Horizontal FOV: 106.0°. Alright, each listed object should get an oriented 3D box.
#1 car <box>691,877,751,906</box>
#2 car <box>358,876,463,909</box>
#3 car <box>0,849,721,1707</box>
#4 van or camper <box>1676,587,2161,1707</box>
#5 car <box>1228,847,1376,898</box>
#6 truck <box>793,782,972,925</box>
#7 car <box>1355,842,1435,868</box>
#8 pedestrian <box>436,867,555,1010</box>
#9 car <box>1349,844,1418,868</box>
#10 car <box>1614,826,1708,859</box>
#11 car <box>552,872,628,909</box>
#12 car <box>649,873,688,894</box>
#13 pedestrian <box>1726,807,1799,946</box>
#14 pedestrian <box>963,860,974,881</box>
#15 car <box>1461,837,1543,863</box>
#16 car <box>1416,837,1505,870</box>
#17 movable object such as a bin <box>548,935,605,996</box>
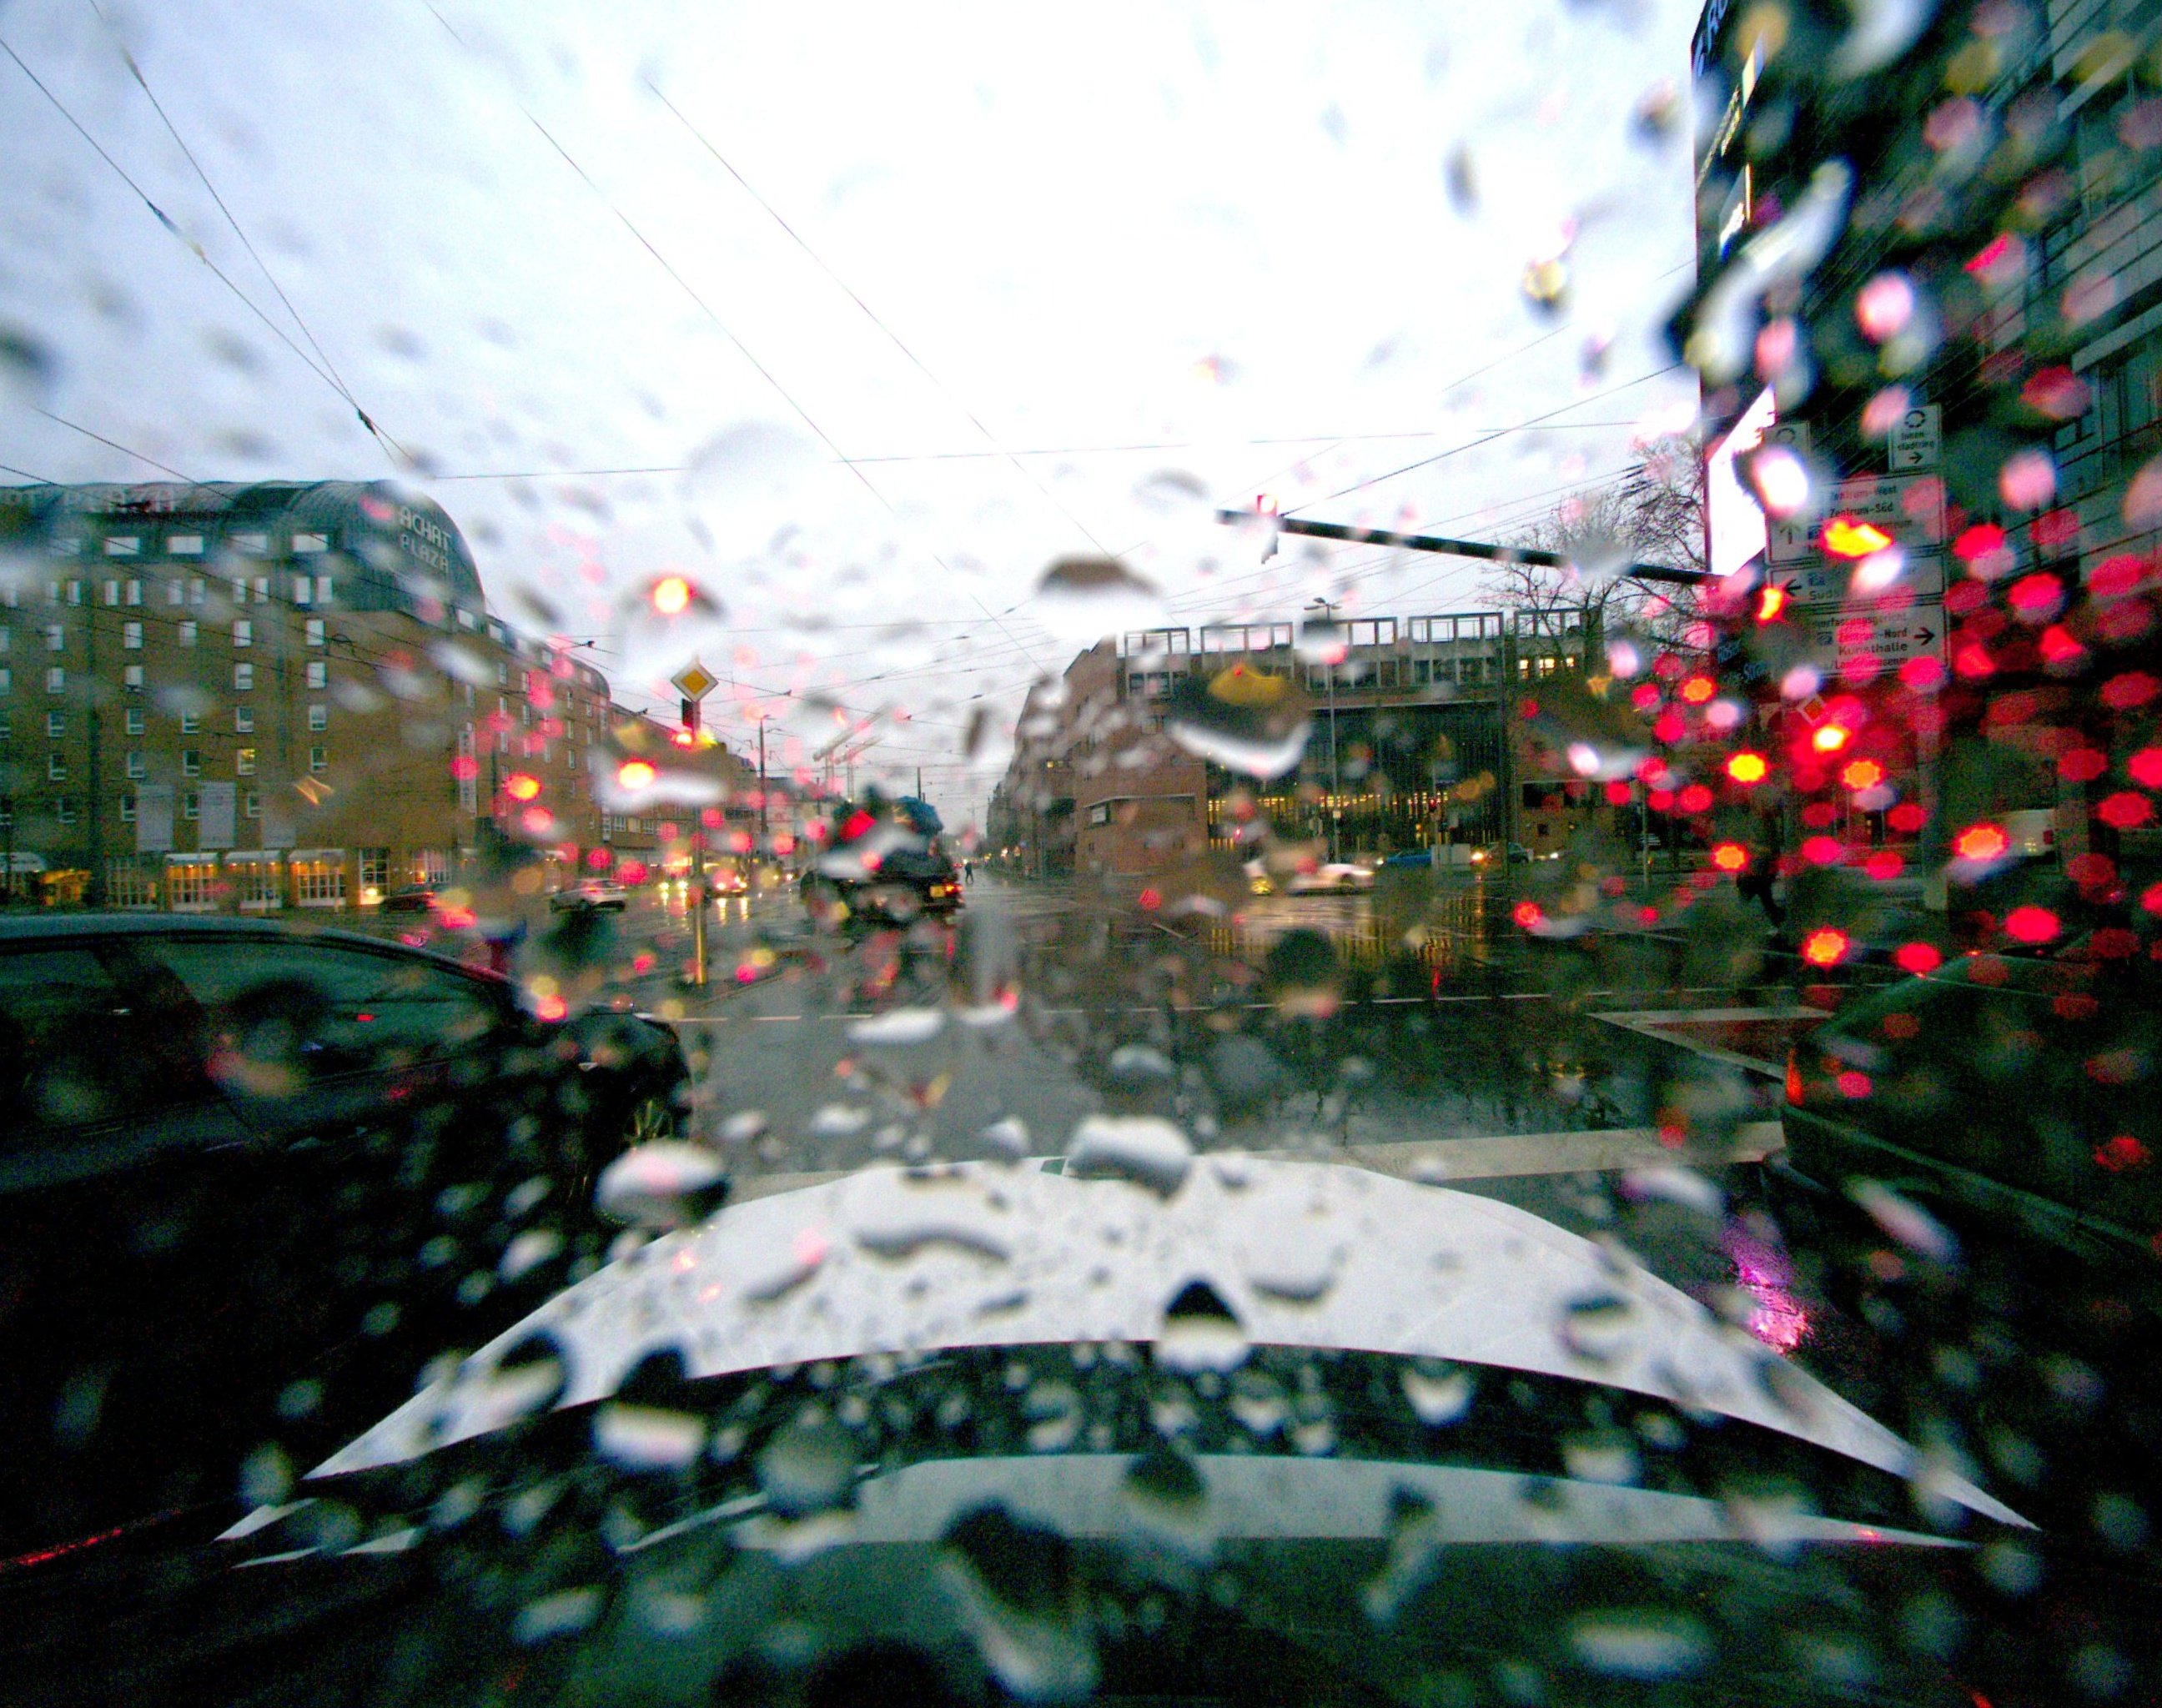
[{"bbox_3d":[-21.423,2.210,48.441,2.011,1.552,4.027,-2,0,-43],"label":"car"},{"bbox_3d":[-33.209,1.897,40.391,3.731,1.459,1.704,-2,0,1],"label":"car"},{"bbox_3d":[-2.702,0.770,2.122,1.623,1.523,3.944,1,1,2],"label":"car"},{"bbox_3d":[2.670,0.495,0.315,1.750,1.906,4.420,-1,0,2],"label":"van or camper"},{"bbox_3d":[7.672,0.643,28.481,4.783,1.561,2.058,-2,0,14],"label":"car"},{"bbox_3d":[-6.247,0.031,24.616,2.859,3.633,7.448,-2,0,-33],"label":"truck"},{"bbox_3d":[18.313,0.017,47.540,3.979,1.263,1.845,-2,4,-4],"label":"car"},{"bbox_3d":[-7.221,1.006,10.056,1.043,1.601,0.707,-3,-1,-44],"label":"pedestrian"},{"bbox_3d":[19.146,0.123,51.608,3.713,1.263,1.845,-2,4,-4],"label":"car"},{"bbox_3d":[32.248,-0.651,45.343,3.979,1.600,1.845,-2,4,-4],"label":"car"},{"bbox_3d":[-21.280,1.573,35.239,3.949,1.447,1.721,-2,0,43],"label":"car"},{"bbox_3d":[-36.159,2.563,71.489,1.995,1.670,3.983,-2,0,-12],"label":"car"},{"bbox_3d":[11.059,0.356,13.233,0.574,2.184,0.619,-1,-1,-4],"label":"pedestrian"},{"bbox_3d":[-9.168,1.358,66.586,0.843,1.687,0.647,-2,0,-9],"label":"pedestrian"},{"bbox_3d":[24.820,-0.252,48.092,3.979,1.288,1.845,-2,4,-4],"label":"car"},{"bbox_3d":[20.433,-0.054,43.907,3.979,1.504,1.845,-2,4,-4],"label":"car"},{"bbox_3d":[-6.519,1.430,10.523,0.541,0.699,0.407,-2,-2,-42],"label":"movable object such as a bin"}]
